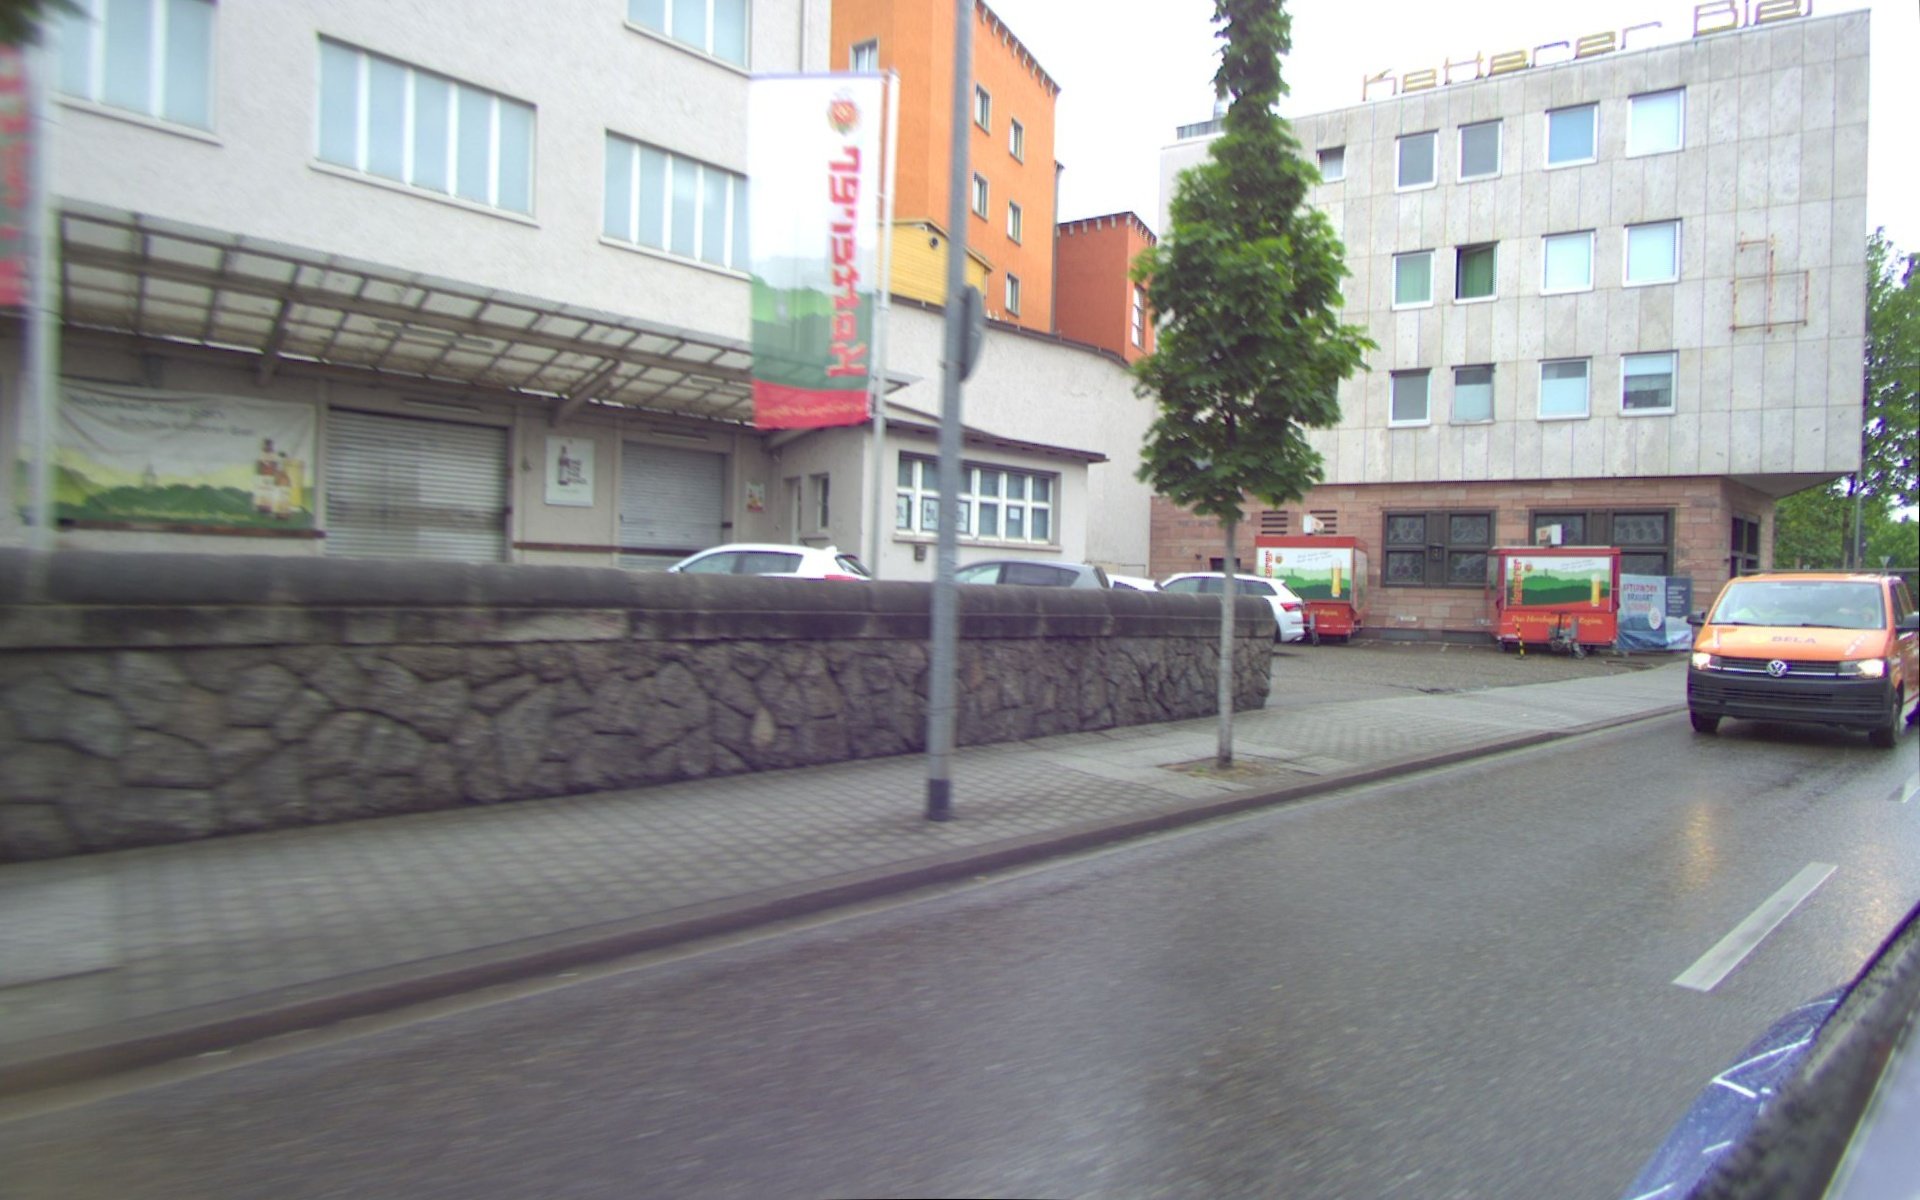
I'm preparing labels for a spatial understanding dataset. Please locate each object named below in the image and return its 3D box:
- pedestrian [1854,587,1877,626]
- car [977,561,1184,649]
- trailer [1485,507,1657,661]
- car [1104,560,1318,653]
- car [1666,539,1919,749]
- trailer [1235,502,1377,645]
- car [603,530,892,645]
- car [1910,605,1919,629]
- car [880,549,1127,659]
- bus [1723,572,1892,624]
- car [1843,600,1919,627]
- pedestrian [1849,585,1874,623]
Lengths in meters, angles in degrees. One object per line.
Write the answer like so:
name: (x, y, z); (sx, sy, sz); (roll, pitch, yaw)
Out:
pedestrian: (49.257, 0.342, 55.035); (0.582, 2.038, 0.781); (4, 2, 24)
car: (2.358, 0.071, 19.718); (3.780, 1.418, 1.639); (3, 1, 11)
trailer: (14.421, -0.446, 24.340); (2.607, 3.215, 5.673); (3, 2, 23)
car: (5.255, 0.111, 21.705); (4.206, 1.669, 1.863); (3, 1, 9)
car: (10.957, 0.444, 12.814); (5.445, 2.115, 2.105); (1, 0, -42)
trailer: (9.379, -0.681, 27.019); (2.724, 3.348, 6.015); (2, 1, 27)
car: (-3.182, -0.198, 15.577); (3.916, 1.588, 1.922); (1, 0, 10)
car: (97.251, 1.787, 100.526); (4.906, 2.348, 1.978); (3, 1, -17)
car: (0.791, 0.034, 17.456); (3.942, 1.602, 1.764); (3, 1, 14)
bus: (61.972, -0.262, 74.449); (2.648, 3.256, 9.682); (3, 2, -13)
car: (54.802, 0.788, 59.855); (1.764, 1.391, 4.091); (2, 2, 6)
pedestrian: (46.401, 0.203, 52.089); (0.738, 1.852, 0.686); (6, 3, 33)
